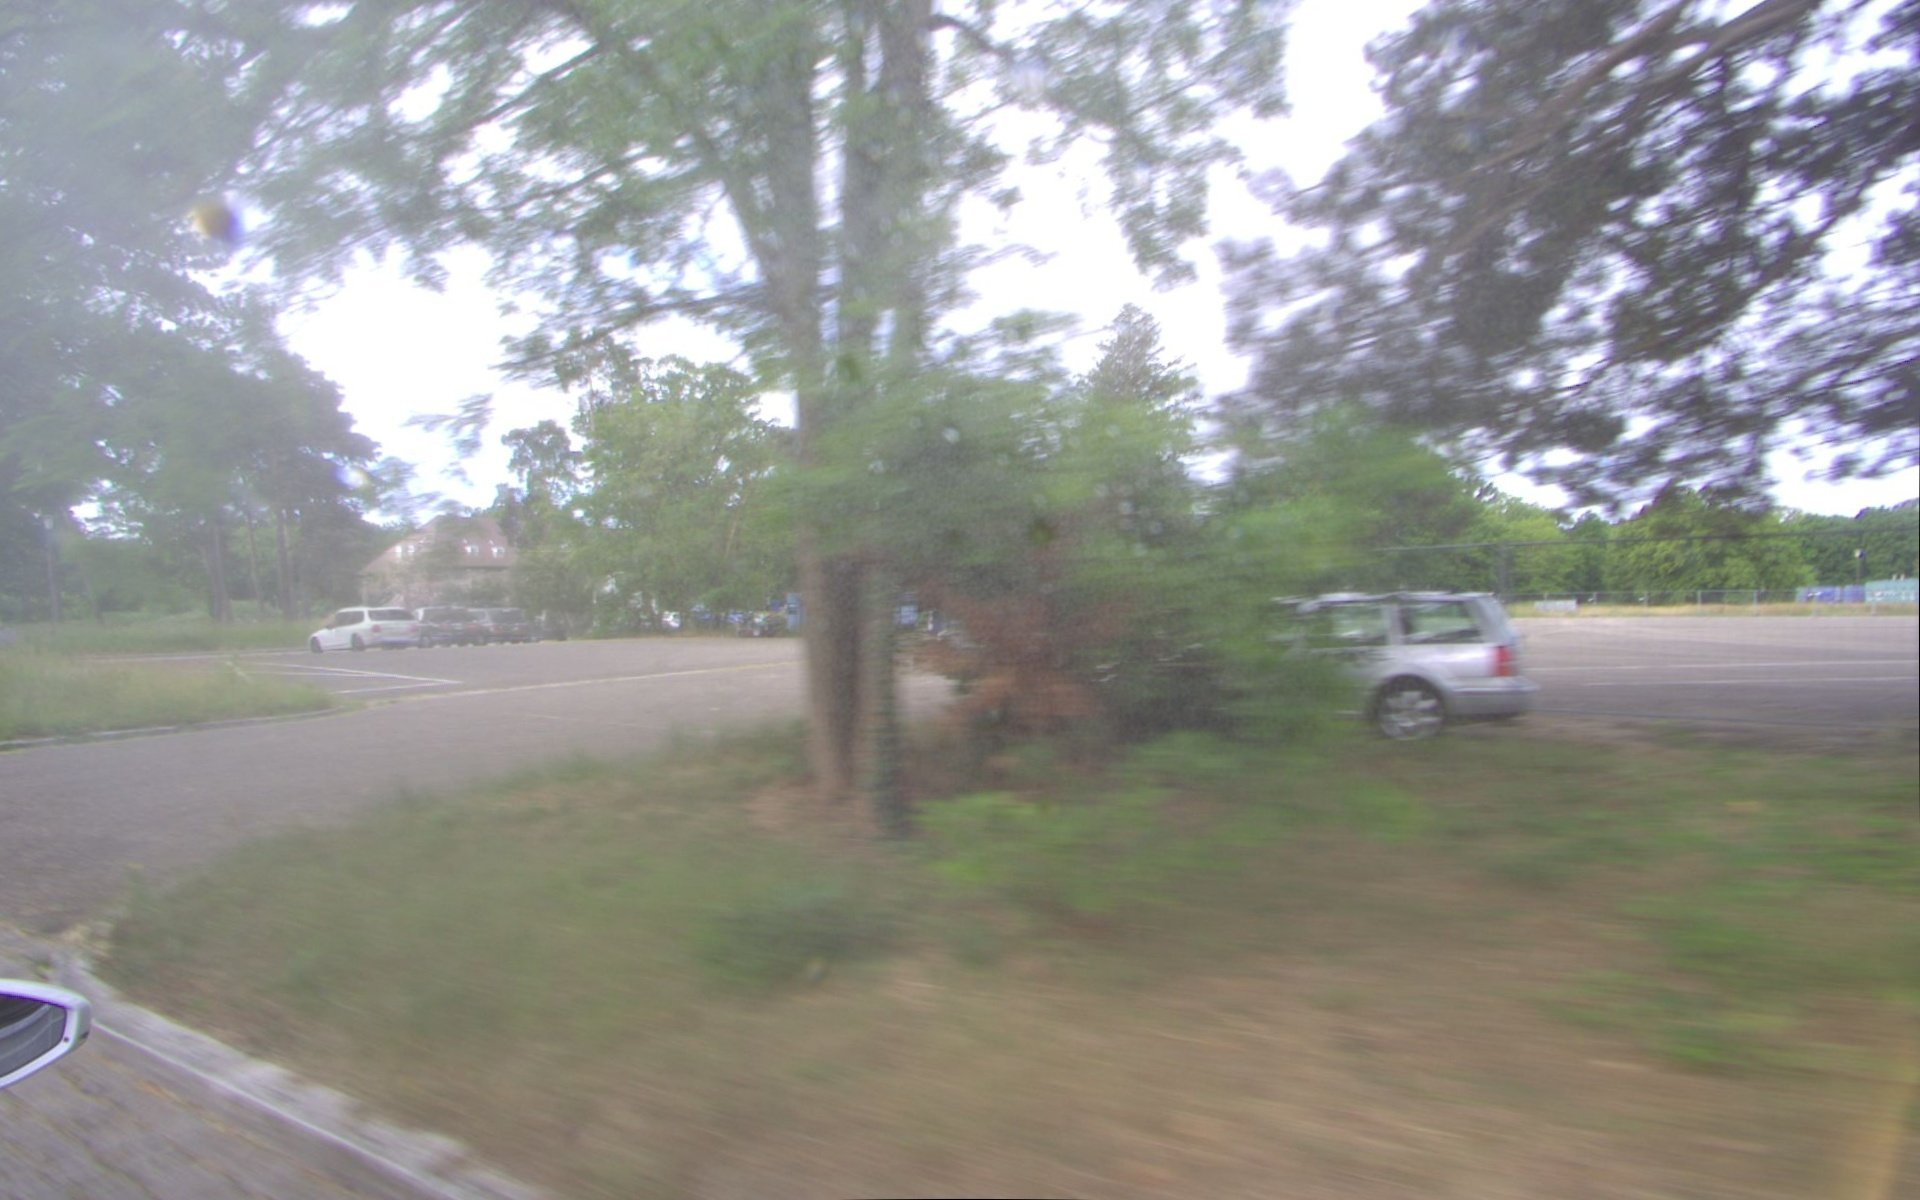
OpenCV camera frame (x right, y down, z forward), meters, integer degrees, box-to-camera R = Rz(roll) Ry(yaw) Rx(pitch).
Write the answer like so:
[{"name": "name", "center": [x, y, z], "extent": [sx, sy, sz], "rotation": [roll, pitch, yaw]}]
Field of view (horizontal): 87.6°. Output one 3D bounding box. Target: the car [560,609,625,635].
[{"name": "car", "center": [-22.490, 1.322, 61.222], "extent": [4.189, 1.492, 1.728], "rotation": [0, 0, 37]}]

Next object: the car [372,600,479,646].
[{"name": "car", "center": [-21.681, 0.948, 40.578], "extent": [4.180, 1.626, 1.780], "rotation": [-4, -1, 29]}]

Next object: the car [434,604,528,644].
[{"name": "car", "center": [-20.590, 1.041, 42.993], "extent": [4.185, 1.504, 1.697], "rotation": [-4, -1, 33]}]

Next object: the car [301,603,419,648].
[{"name": "car", "center": [-22.933, 1.005, 38.248], "extent": [4.541, 1.505, 1.847], "rotation": [-4, -3, 29]}]

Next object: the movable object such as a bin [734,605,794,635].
[{"name": "movable object such as a bin", "center": [-7.758, 0.803, 39.723], "extent": [2.176, 1.149, 0.961], "rotation": [-1, -1, 23]}]

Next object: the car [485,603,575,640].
[{"name": "car", "center": [-19.603, 0.987, 45.599], "extent": [4.185, 1.504, 1.697], "rotation": [-4, -1, 33]}]

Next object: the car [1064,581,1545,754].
[{"name": "car", "center": [3.445, 0.611, 10.342], "extent": [4.421, 1.470, 1.672], "rotation": [-1, 0, 29]}]

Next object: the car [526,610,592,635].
[{"name": "car", "center": [-23.580, 1.311, 58.816], "extent": [4.189, 1.409, 1.728], "rotation": [0, 0, 37]}]

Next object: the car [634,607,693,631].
[{"name": "car", "center": [-19.585, 1.251, 66.096], "extent": [4.189, 1.521, 1.611], "rotation": [0, 0, 37]}]
